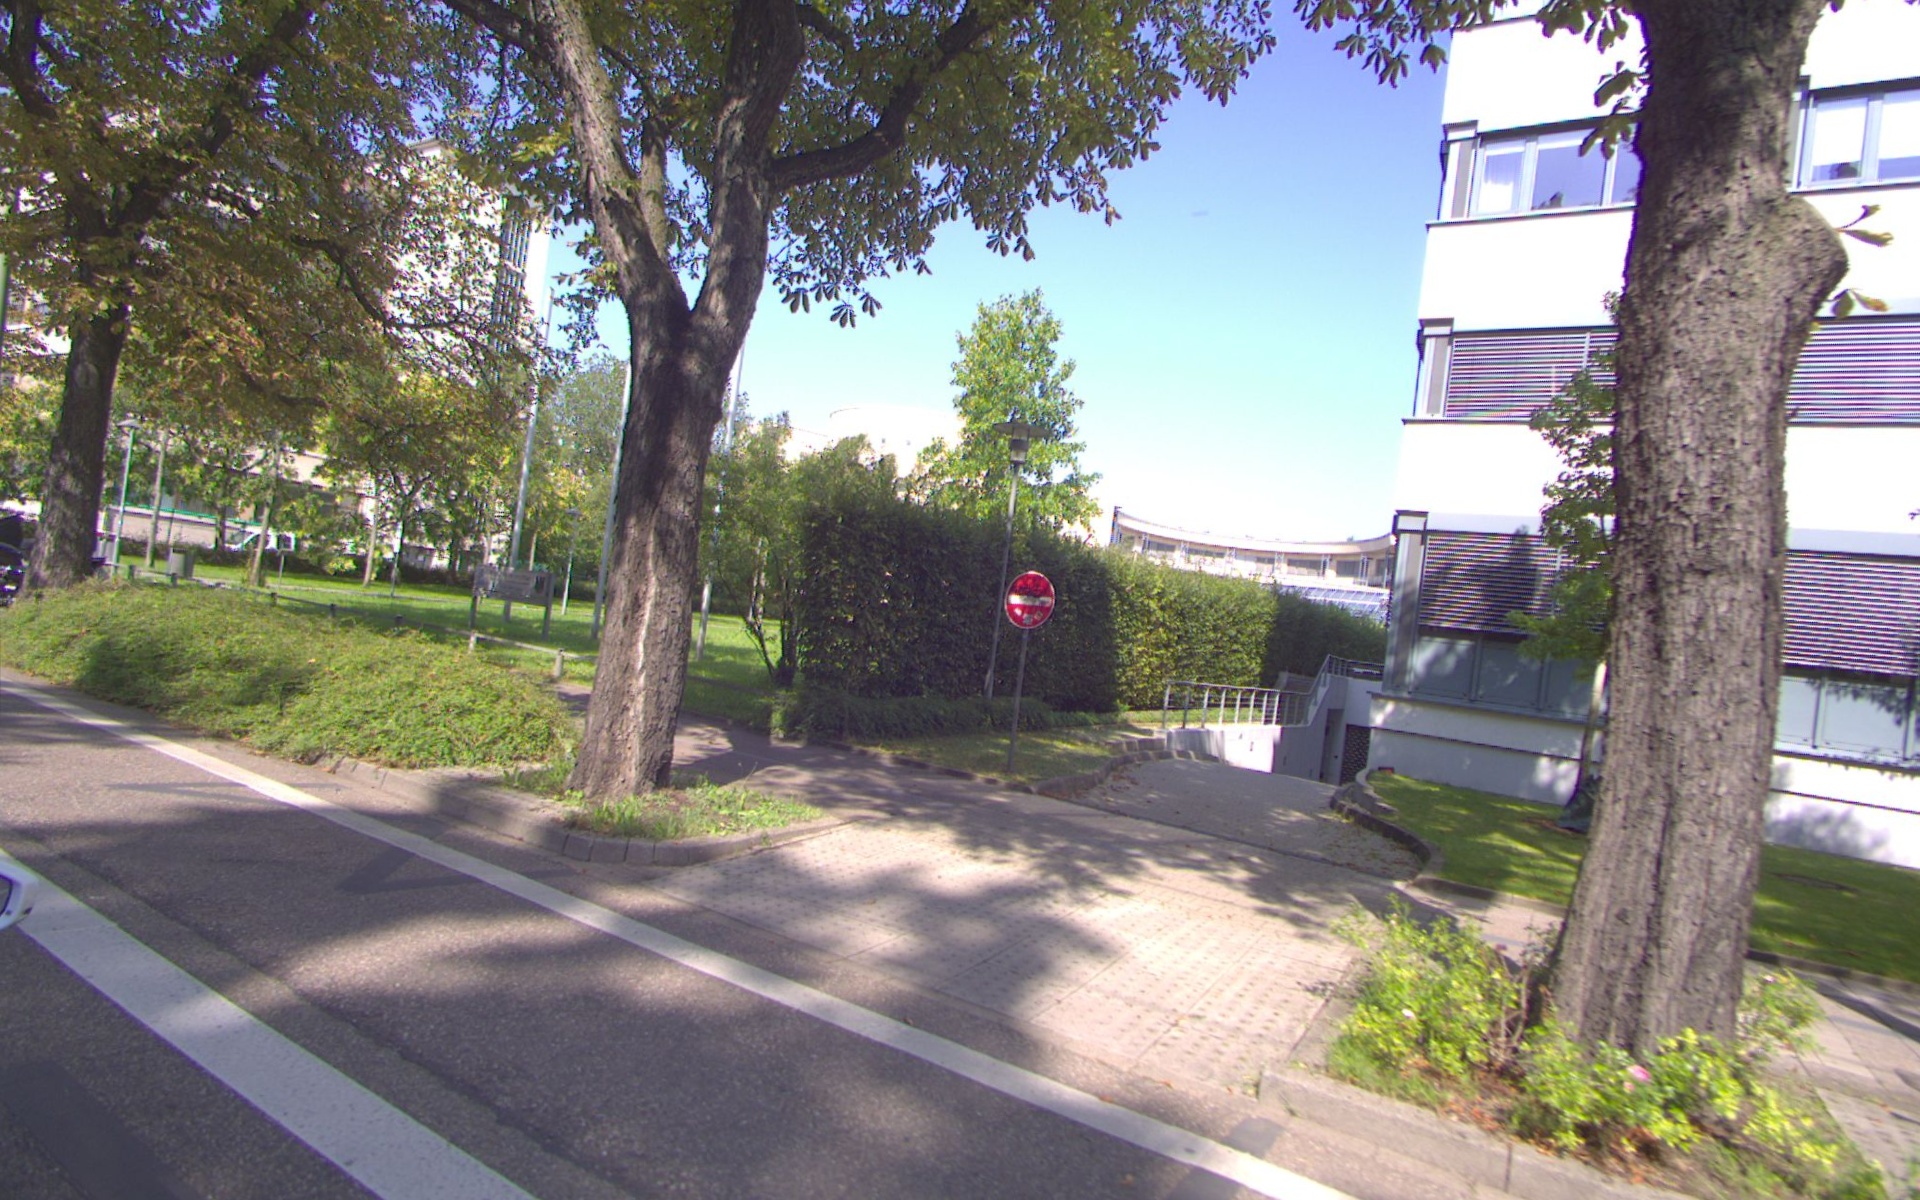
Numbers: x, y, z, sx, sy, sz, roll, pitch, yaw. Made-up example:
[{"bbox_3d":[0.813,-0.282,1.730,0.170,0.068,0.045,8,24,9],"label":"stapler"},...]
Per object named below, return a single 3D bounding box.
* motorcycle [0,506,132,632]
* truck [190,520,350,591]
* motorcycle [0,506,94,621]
[{"bbox_3d":[-12.994,-0.501,13.637,2.422,1.533,0.849,8,-2,-21],"label":"motorcycle"},{"bbox_3d":[-32.105,-2.015,46.997,2.261,2.352,5.517,6,-3,33],"label":"truck"},{"bbox_3d":[-14.273,-0.629,14.743,2.408,1.533,0.854,7,-1,7],"label":"motorcycle"}]
